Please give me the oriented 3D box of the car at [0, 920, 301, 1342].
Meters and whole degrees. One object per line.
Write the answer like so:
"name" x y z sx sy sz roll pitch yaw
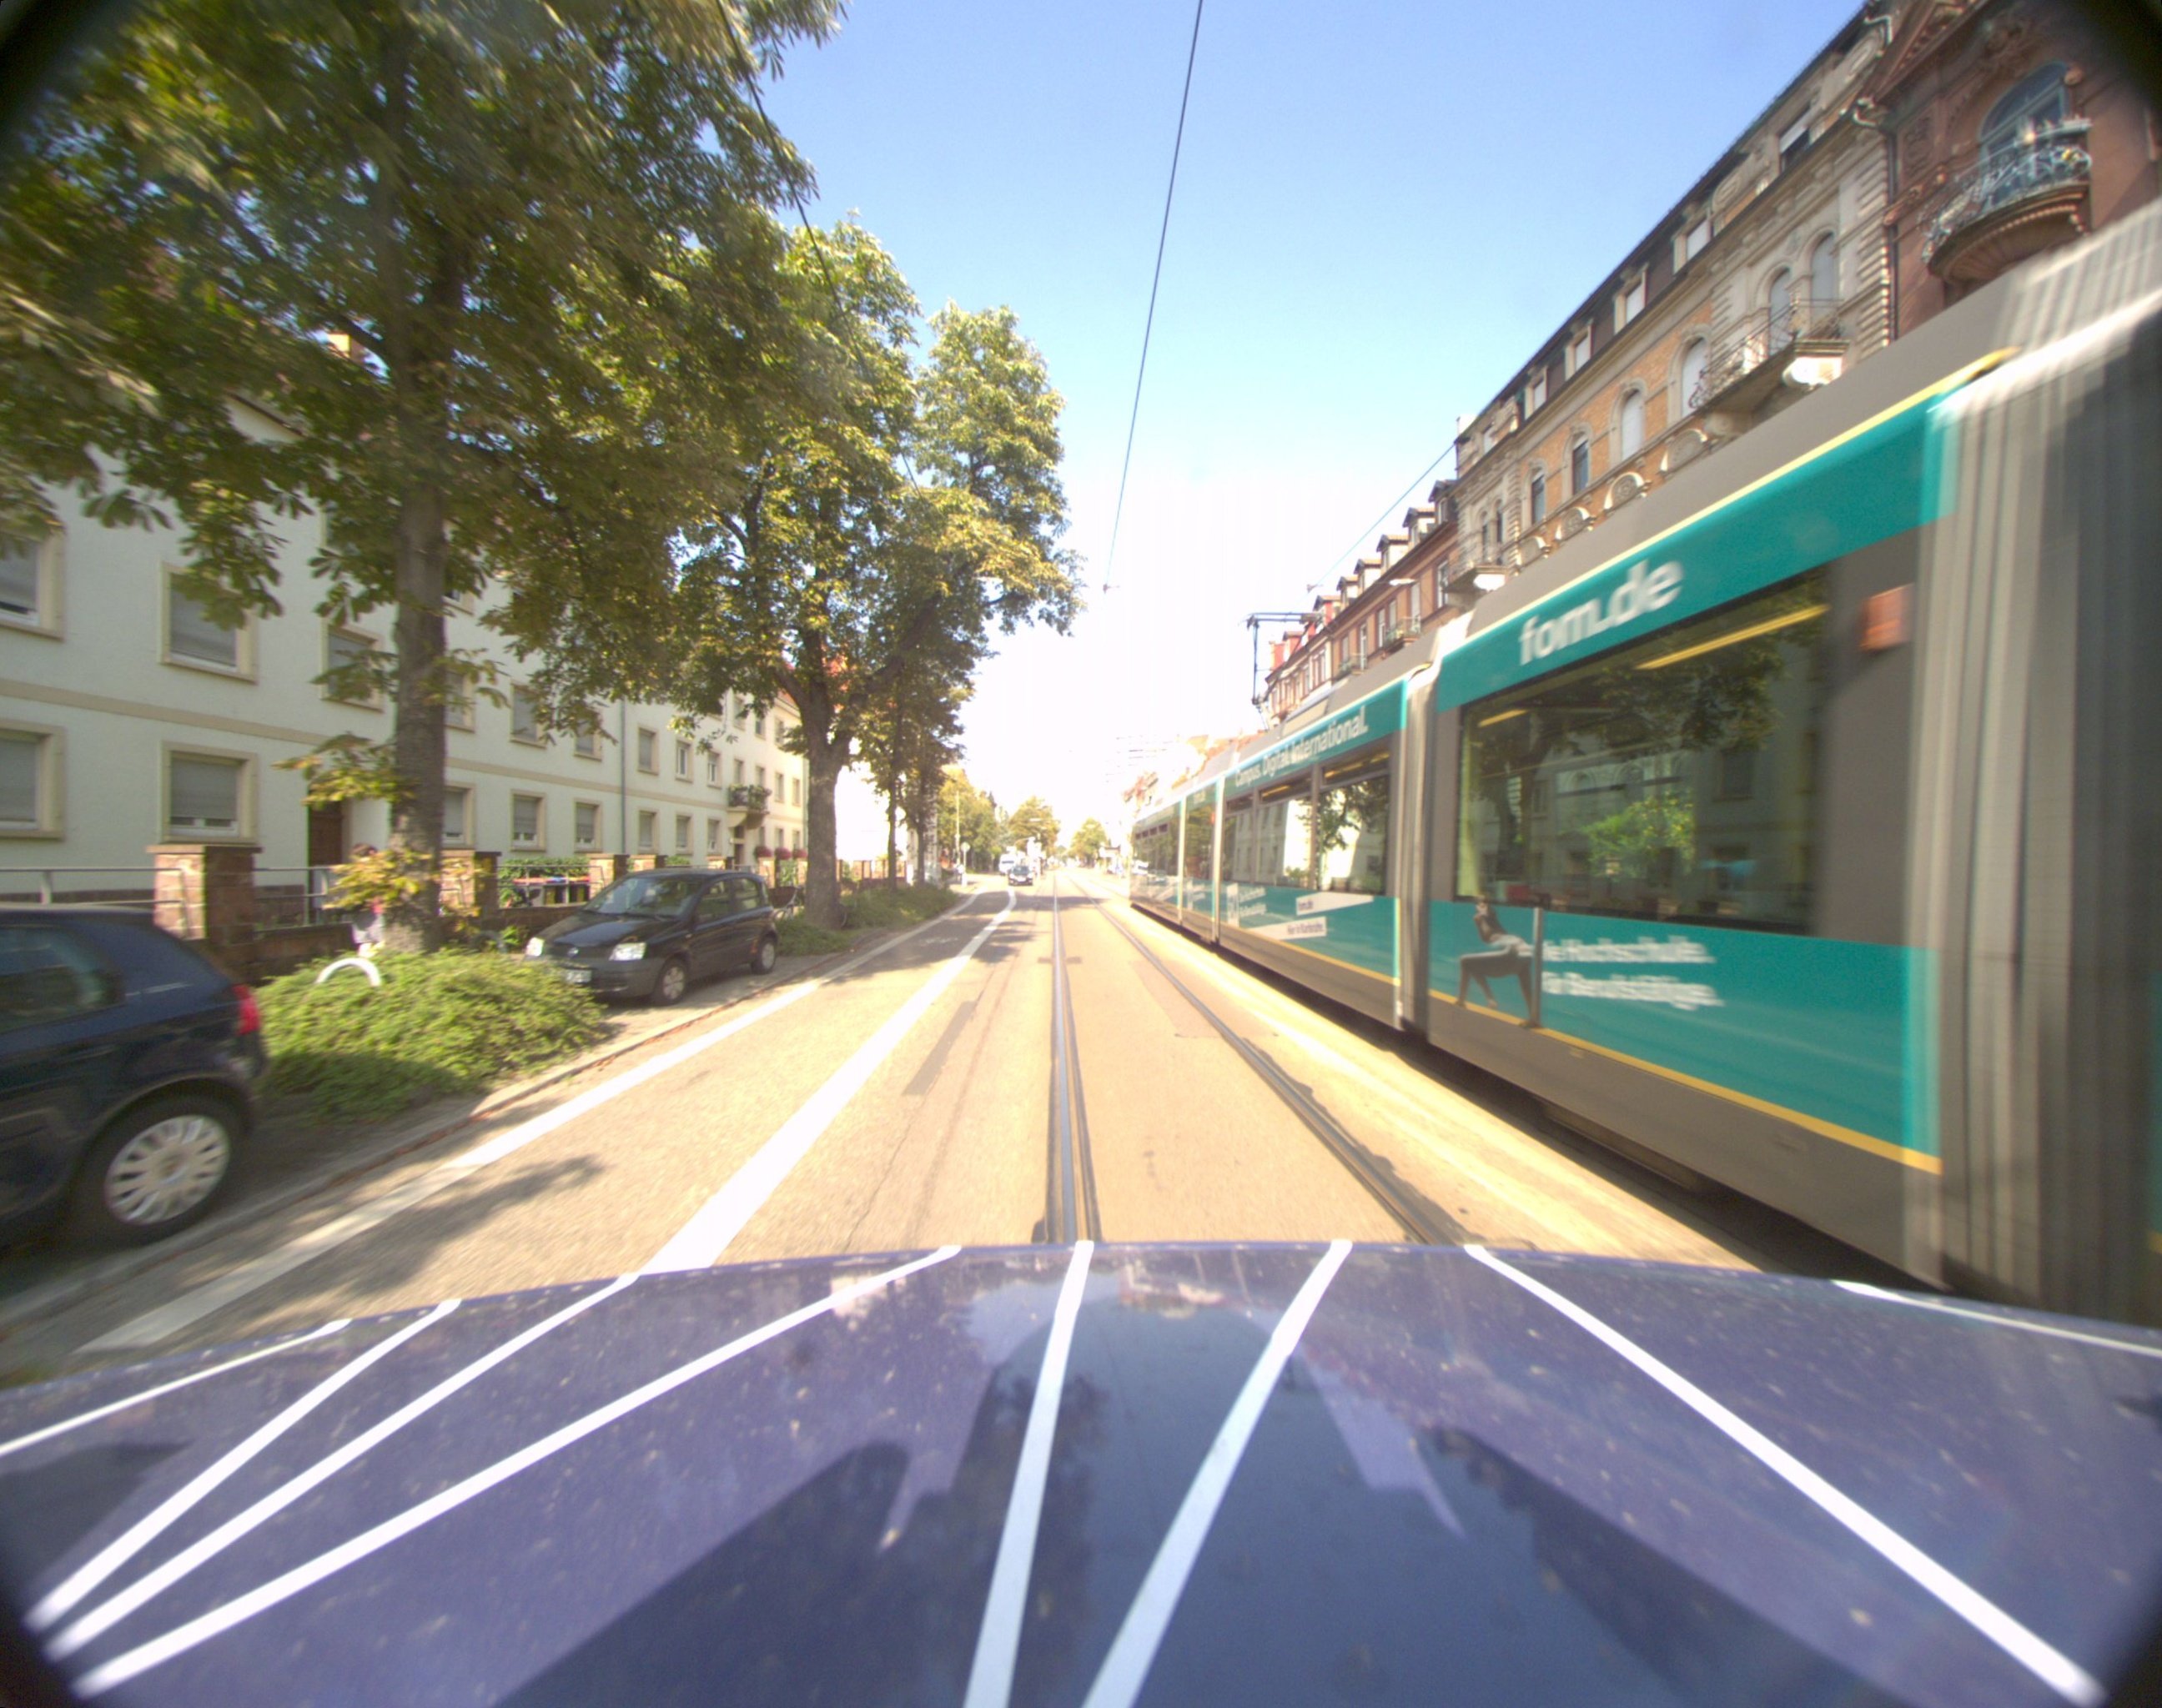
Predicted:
"car" -4.746 1.060 1.734 1.650 1.439 4.245 1 0 -2

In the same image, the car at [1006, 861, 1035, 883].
"car" -4.301 1.236 53.730 1.776 1.459 3.997 -2 0 -8

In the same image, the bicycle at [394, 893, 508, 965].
"bicycle" -10.848 1.254 13.156 0.525 1.067 1.728 -2 0 -1

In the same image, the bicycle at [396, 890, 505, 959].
"bicycle" -11.330 1.234 13.735 0.525 1.067 1.728 -2 0 -1

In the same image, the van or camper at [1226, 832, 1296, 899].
"van or camper" 7.684 0.454 33.008 2.055 2.629 6.091 0 0 5

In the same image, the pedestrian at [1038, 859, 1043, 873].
"pedestrian" -5.003 1.458 94.191 0.590 1.711 0.607 -1 0 0

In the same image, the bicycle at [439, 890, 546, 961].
"bicycle" -10.241 1.212 13.306 0.525 1.067 1.728 -2 0 -1

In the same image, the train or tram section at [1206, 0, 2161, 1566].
"train or tram section" 3.518 -0.178 5.964 2.742 3.485 10.773 -2 0 -3

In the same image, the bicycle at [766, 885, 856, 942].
"bicycle" -5.696 1.238 16.106 0.524 1.067 1.732 -1 0 39

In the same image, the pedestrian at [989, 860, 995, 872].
"pedestrian" -12.950 1.735 110.596 0.543 1.707 0.662 -1 0 13

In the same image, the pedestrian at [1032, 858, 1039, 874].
"pedestrian" -4.995 1.356 83.880 0.770 1.750 0.680 -1 0 -3

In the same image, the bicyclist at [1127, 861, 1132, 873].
"bicyclist" 6.994 1.849 109.028 0.675 1.605 1.044 -1 0 0

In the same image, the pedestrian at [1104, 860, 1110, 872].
"pedestrian" 3.161 1.406 92.931 0.678 1.448 0.718 -1 0 -1

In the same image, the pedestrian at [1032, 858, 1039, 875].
"pedestrian" -4.821 1.295 80.629 0.691 1.756 0.796 -1 0 -3

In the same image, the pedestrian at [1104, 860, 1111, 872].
"pedestrian" 3.166 1.427 91.850 0.794 1.448 0.718 -1 0 -1

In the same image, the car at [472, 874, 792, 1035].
"car" -5.363 1.076 9.737 1.649 1.531 3.843 1 0 3

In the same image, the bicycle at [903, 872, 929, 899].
"bicycle" -7.235 1.367 33.401 0.774 1.097 2.332 -1 0 -5

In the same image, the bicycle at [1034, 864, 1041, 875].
"bicycle" -4.639 1.671 80.617 0.473 1.097 1.738 -1 0 6

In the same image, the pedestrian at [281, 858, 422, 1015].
"pedestrian" -8.554 0.930 8.946 0.754 1.738 0.878 -1 0 4

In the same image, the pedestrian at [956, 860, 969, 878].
"pedestrian" -11.715 1.456 75.087 1.080 1.714 0.969 2 0 -3

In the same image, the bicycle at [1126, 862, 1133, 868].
"bicycle" 8.383 1.942 131.317 0.546 1.097 1.894 -1 0 -15

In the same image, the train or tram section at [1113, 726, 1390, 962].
"train or tram section" 2.904 -0.114 19.138 2.742 3.485 15.429 -2 0 -3

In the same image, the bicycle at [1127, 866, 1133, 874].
"bicycle" 7.001 2.352 109.087 0.686 1.097 2.069 -1 0 0

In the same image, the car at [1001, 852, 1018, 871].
"car" -8.856 0.894 94.438 2.088 2.264 4.825 -1 0 -5
